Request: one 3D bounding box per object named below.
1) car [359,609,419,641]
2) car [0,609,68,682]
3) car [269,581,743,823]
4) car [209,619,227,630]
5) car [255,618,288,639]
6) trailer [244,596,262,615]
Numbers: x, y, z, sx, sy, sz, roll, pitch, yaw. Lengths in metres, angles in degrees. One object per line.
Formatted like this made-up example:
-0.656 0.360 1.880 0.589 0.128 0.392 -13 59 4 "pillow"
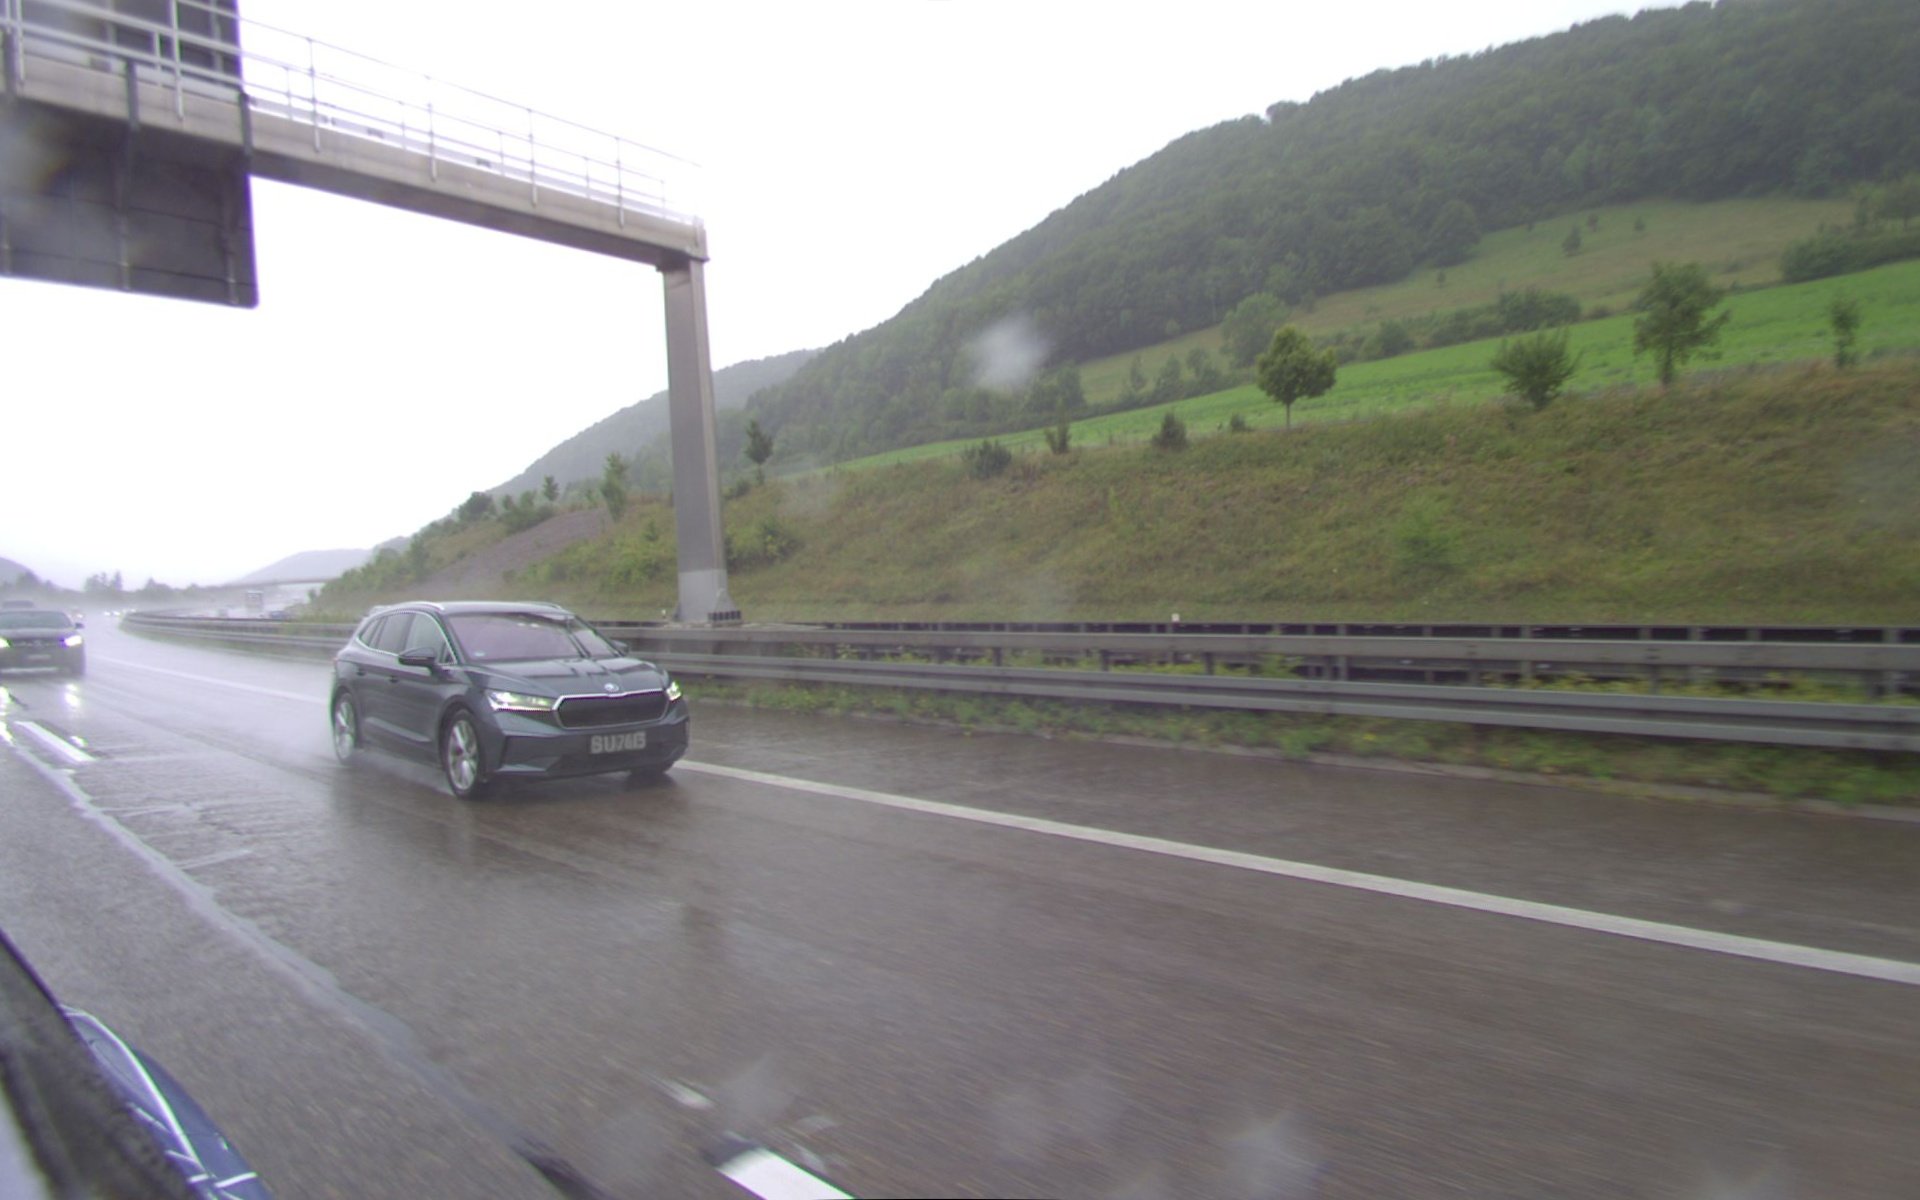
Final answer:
-31.655 1.377 56.032 4.000 1.704 1.757 -1 0 43 "car"
-24.402 1.139 26.223 1.789 1.715 3.753 -2 1 -43 "car"
-4.389 0.758 9.415 4.902 1.696 1.974 -1 -2 38 "car"
-106.328 3.525 145.010 1.772 1.431 3.780 -1 0 -42 "car"
-56.045 2.291 82.339 1.686 1.660 4.005 -1 0 -42 "car"
-143.205 1.100 204.824 2.776 3.709 13.278 -1 0 -36 "trailer"
